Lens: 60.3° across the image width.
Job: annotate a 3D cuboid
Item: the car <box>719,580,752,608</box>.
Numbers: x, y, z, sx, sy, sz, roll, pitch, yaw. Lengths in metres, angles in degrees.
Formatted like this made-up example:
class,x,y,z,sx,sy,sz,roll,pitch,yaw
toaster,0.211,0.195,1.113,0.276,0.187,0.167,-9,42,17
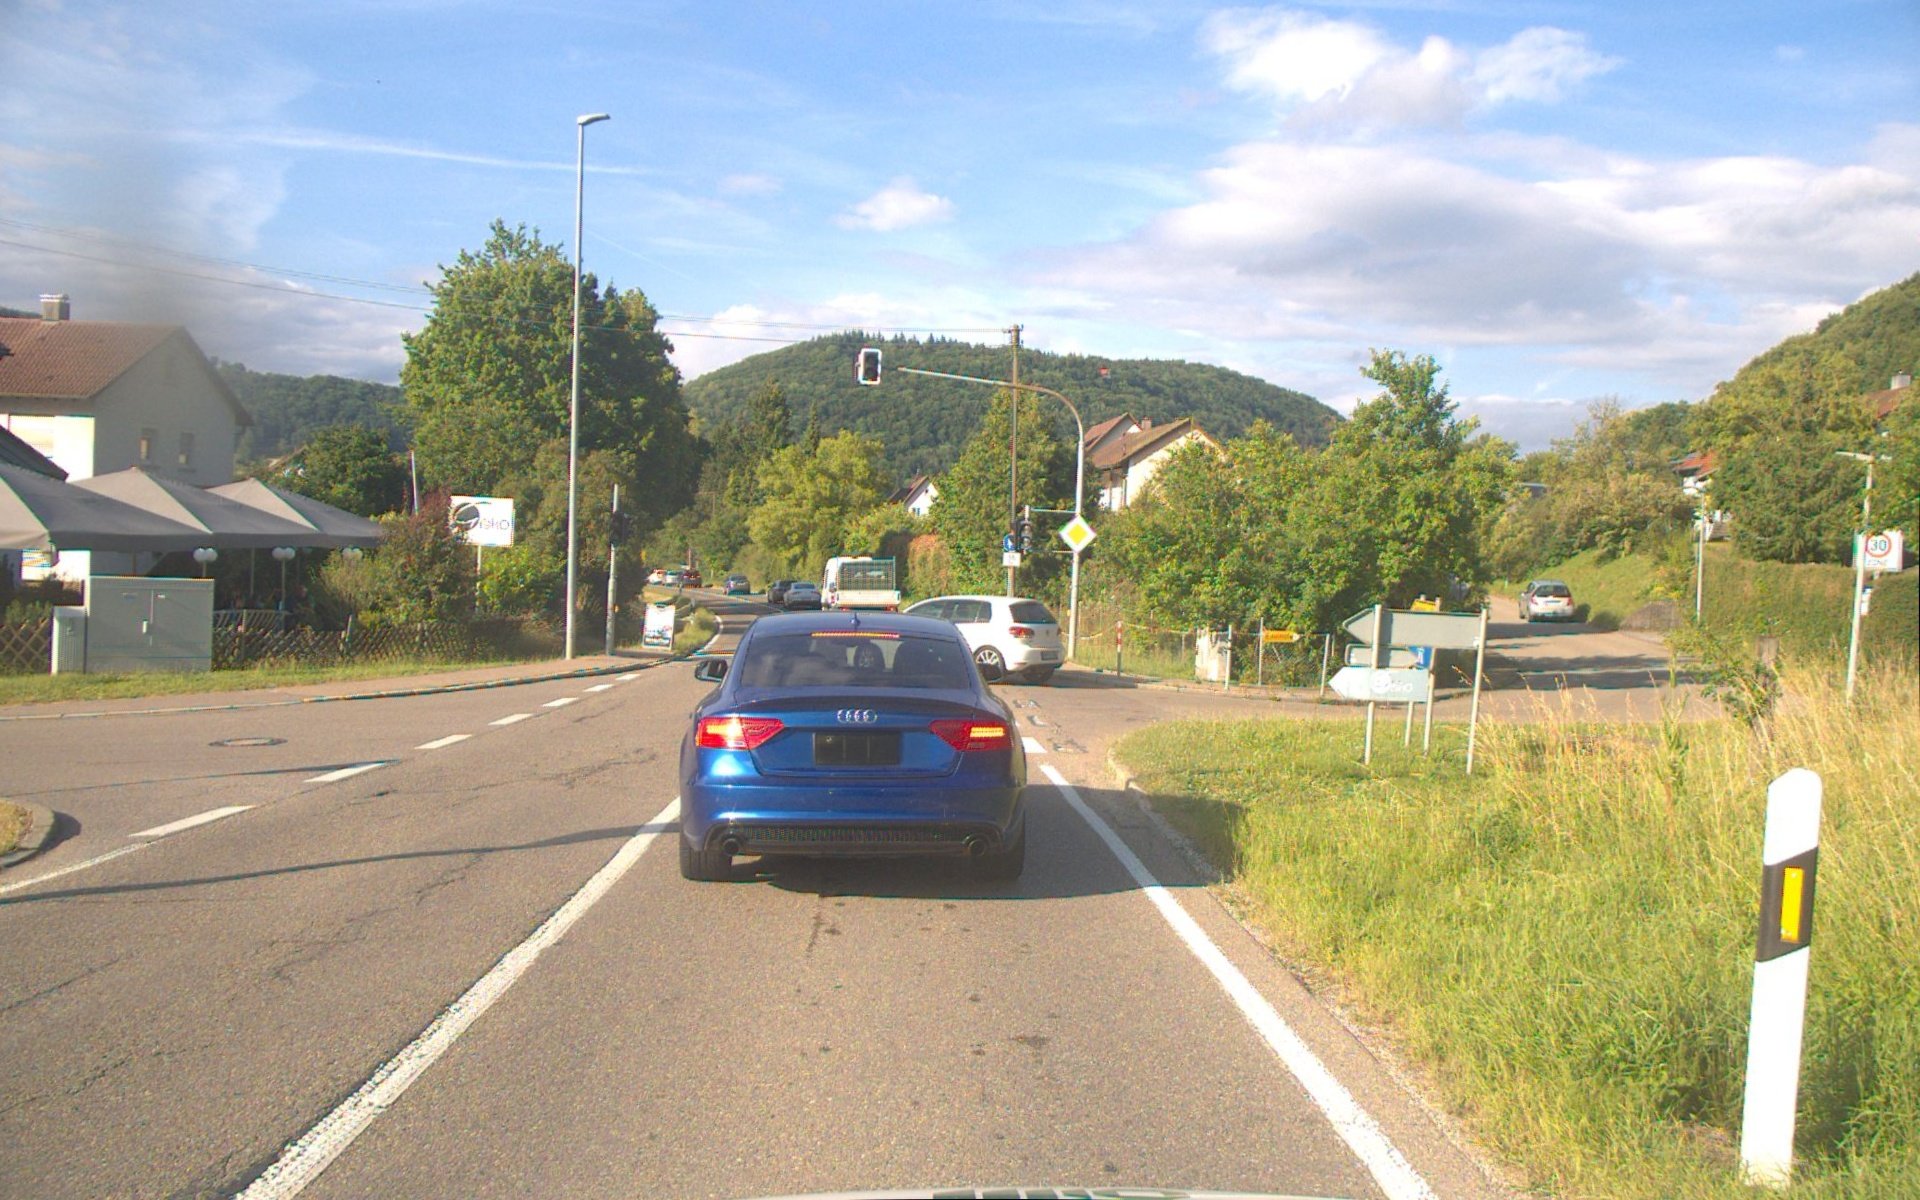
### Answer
class,x,y,z,sx,sy,sz,roll,pitch,yaw
car,-16.921,-0.468,124.673,1.961,2.048,3.984,0,1,-15

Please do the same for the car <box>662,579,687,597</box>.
class,x,y,z,sx,sy,sz,roll,pitch,yaw
car,-27.596,-1.175,159.834,1.911,1.713,3.982,0,1,-16

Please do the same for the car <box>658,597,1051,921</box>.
class,x,y,z,sx,sy,sz,roll,pitch,yaw
car,-0.593,0.722,9.707,1.793,1.433,4.224,0,1,-3

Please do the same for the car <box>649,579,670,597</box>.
class,x,y,z,sx,sy,sz,roll,pitch,yaw
car,-30.622,-1.200,168.378,1.721,1.814,3.982,0,1,-17

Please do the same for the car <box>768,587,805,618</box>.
class,x,y,z,sx,sy,sz,roll,pitch,yaw
car,-10.582,0.129,100.595,1.765,1.825,3.987,0,1,-13

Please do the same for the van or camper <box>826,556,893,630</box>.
class,x,y,z,sx,sy,sz,roll,pitch,yaw
van or camper,-4.268,-0.315,69.419,2.369,2.955,6.121,0,1,-7

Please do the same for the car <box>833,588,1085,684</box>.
class,x,y,z,sx,sy,sz,roll,pitch,yaw
car,-0.048,0.601,29.044,4.086,1.439,1.772,2,0,33

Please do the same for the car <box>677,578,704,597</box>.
class,x,y,z,sx,sy,sz,roll,pitch,yaw
car,-24.691,-1.161,151.429,2.008,1.713,3.982,0,1,-16

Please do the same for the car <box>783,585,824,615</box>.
class,x,y,z,sx,sy,sz,roll,pitch,yaw
car,-8.473,-0.035,89.277,1.787,1.579,3.989,0,1,-11

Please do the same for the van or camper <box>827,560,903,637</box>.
class,x,y,z,sx,sy,sz,roll,pitch,yaw
van or camper,-3.217,-0.088,54.961,2.138,2.426,5.361,0,1,-7

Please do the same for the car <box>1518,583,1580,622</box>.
class,x,y,z,sx,sy,sz,roll,pitch,yaw
car,23.448,0.118,65.947,1.951,1.490,4.003,1,0,14
